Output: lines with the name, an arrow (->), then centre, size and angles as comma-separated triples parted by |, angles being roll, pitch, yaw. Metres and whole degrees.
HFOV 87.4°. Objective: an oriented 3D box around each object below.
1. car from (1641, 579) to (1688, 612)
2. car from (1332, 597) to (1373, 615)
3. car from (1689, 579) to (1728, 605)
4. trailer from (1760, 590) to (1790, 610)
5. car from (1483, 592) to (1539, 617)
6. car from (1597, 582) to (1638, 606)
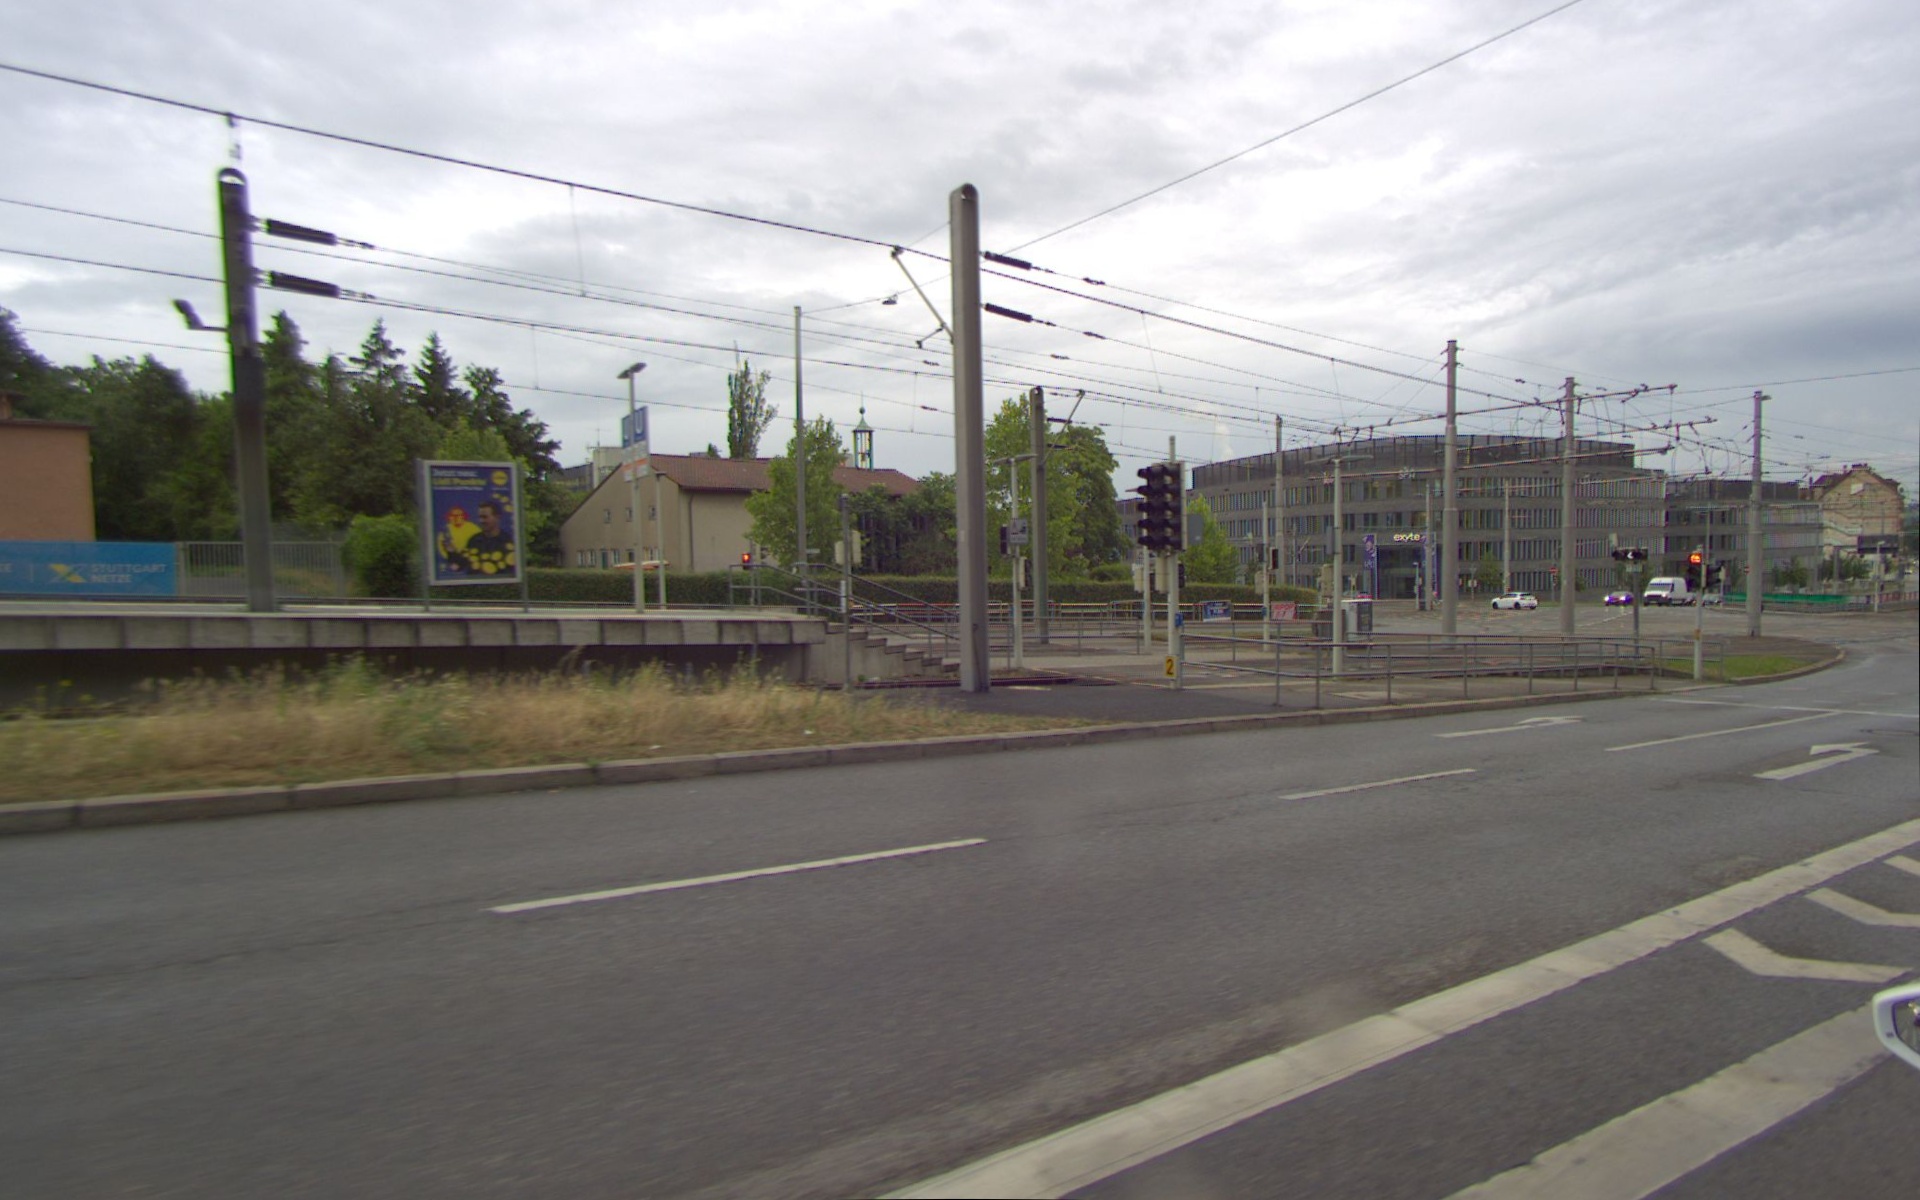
car -> 63.597, -0.412, 90.652 | 5.667, 2.869, 1.978 | 0, -1, -39
car -> 40.902, 0.609, 104.749 | 1.966, 1.840, 3.989 | 2, 0, -14
car -> 71.962, -0.766, 96.533 | 4.211, 2.181, 1.978 | 4, -2, -39
trailer -> 93.216, -0.005, 114.908 | 4.239, 2.101, 1.810 | 3, 0, -40
car -> 47.072, 0.366, 85.909 | 1.966, 2.040, 3.989 | 2, 0, -14
car -> 61.301, -0.563, 93.679 | 4.210, 2.181, 1.978 | 1, 0, -39
